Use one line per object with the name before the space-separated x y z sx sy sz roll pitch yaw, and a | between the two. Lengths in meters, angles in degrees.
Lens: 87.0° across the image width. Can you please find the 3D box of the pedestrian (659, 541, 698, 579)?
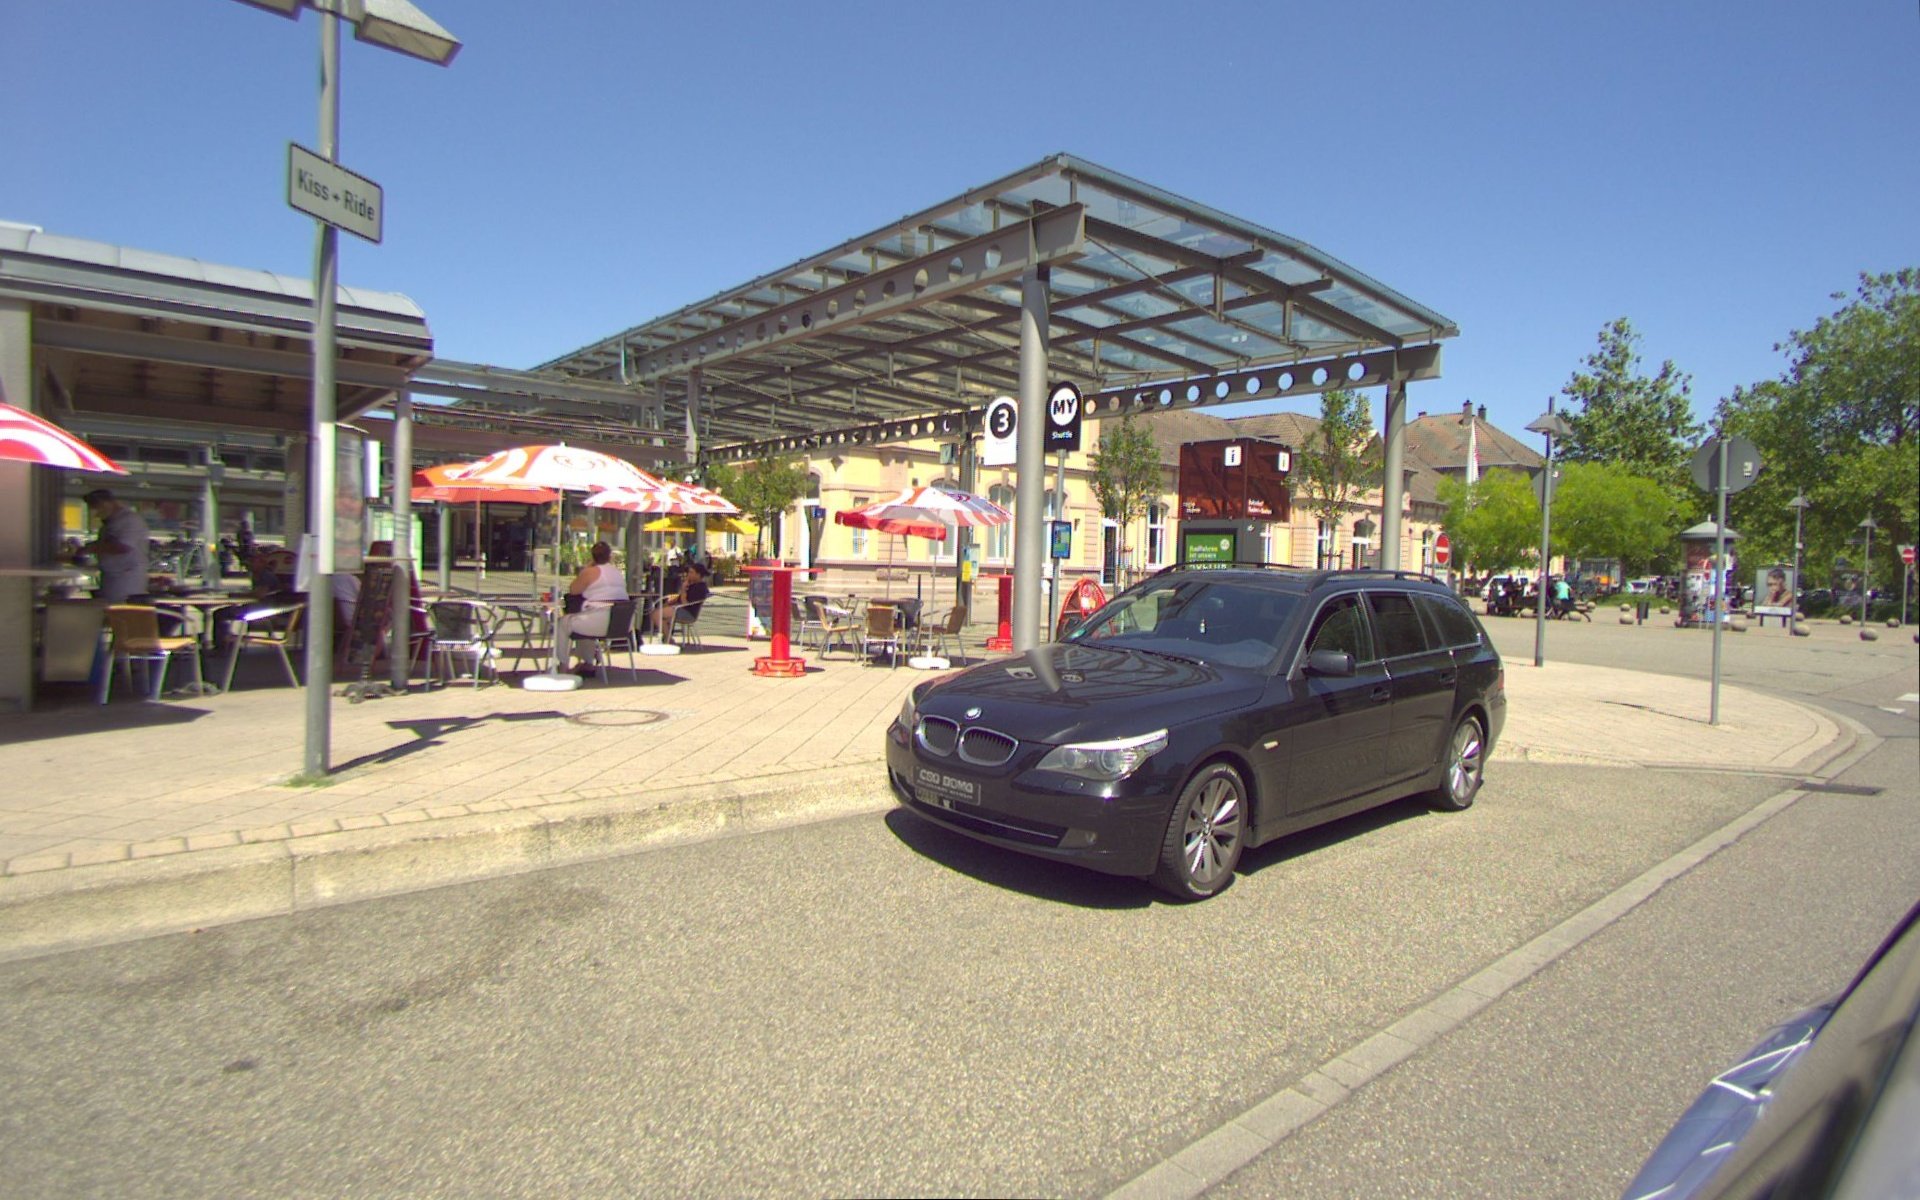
pedestrian | -10.767 -1.535 38.683 1.043 1.369 0.968 4 5 29

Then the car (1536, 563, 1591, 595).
car | 42.879 -1.477 71.842 2.087 2.151 5.733 2 1 44

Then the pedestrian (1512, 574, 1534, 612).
pedestrian | 20.699 -0.265 37.216 0.592 1.381 0.596 2 2 21

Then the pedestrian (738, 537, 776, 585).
pedestrian | -8.104 -1.541 40.326 1.064 1.869 1.081 0 2 -43

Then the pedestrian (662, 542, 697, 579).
pedestrian | -11.124 -1.579 40.117 1.033 1.369 0.977 -2 6 -38

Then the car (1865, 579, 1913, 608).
car | 55.091 -0.394 59.988 3.050 1.613 1.601 0 3 -38

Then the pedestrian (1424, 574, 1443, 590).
pedestrian | 32.768 -1.240 70.070 0.838 1.092 0.880 0 4 -45

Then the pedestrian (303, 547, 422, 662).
pedestrian | -6.409 0.028 10.882 0.882 1.175 0.685 2 2 15

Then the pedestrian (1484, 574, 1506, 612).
pedestrian | 19.895 -0.263 37.621 0.592 1.381 0.596 2 2 21

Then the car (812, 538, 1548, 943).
car | 1.613 0.479 6.138 4.643 1.477 1.931 -1 6 -42

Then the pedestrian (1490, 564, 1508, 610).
pedestrian | 20.783 -0.502 39.029 0.506 1.761 0.567 2 2 20

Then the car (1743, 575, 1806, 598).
car | 62.980 -1.066 78.329 1.768 1.624 4.062 0 3 4

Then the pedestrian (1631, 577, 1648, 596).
pedestrian | 52.423 -1.063 78.044 0.785 1.442 0.692 1 2 -4

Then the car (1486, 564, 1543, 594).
car | 36.810 -1.359 67.137 5.052 1.889 1.811 0 1 -43

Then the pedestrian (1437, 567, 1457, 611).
pedestrian | 19.010 -0.443 39.495 0.552 1.706 0.579 3 2 37

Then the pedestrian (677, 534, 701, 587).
pedestrian | -9.501 -1.390 35.490 0.619 1.831 0.691 1 2 -30

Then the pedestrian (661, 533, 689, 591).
pedestrian | -9.196 -1.224 32.642 0.590 1.831 0.626 2 2 27

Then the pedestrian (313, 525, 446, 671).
pedestrian | -5.545 -0.036 9.688 0.882 1.328 0.685 2 2 15

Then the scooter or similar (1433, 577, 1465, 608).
scooter or similar | 18.596 -0.291 38.497 1.025 1.153 0.290 3 3 43

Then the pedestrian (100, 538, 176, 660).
pedestrian | -8.587 -0.014 10.566 0.582 1.220 0.656 -1 1 -41

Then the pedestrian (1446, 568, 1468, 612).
pedestrian | 19.576 -0.405 39.838 0.616 1.706 0.583 3 2 37

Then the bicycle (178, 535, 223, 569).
bicycle | -24.849 -1.556 33.088 0.950 1.016 2.790 -1 1 -42

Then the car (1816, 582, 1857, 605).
car | 78.409 -0.583 90.596 1.721 1.917 3.965 2 2 26

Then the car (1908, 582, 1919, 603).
car | 72.089 -0.486 73.815 3.831 1.478 1.625 2 2 22

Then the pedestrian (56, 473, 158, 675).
pedestrian | -7.797 -0.241 9.270 0.695 1.759 0.688 0 2 -40

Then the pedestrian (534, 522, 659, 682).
pedestrian | -3.434 0.003 9.594 0.881 1.435 0.686 2 2 12

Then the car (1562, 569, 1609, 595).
car | 47.280 -1.354 76.435 2.075 1.863 4.763 2 1 44

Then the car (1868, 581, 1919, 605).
car | 61.455 -0.421 64.726 4.740 1.434 1.767 3 2 31

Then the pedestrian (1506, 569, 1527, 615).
pedestrian | 21.578 -0.309 39.237 0.579 1.761 0.595 2 2 24

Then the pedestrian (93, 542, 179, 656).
pedestrian | -9.105 -0.021 11.201 0.580 1.220 0.658 -1 1 -25

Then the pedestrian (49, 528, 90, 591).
pedestrian | -20.388 -0.929 23.181 0.665 1.411 0.626 -1 4 -41

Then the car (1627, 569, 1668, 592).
car | 58.161 -1.627 85.603 1.998 1.863 5.234 1 1 44

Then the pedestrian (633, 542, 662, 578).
pedestrian | -12.534 -1.614 40.624 0.957 1.369 1.054 1 5 -6

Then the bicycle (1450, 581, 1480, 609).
bicycle | 20.592 -0.218 41.234 1.916 1.073 0.421 -1 3 -43

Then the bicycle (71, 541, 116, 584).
bicycle | -21.886 -0.928 25.534 0.797 1.016 2.790 -1 1 -42

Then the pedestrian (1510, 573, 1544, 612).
pedestrian | 21.396 -0.295 38.205 0.901 1.403 0.938 2 2 20

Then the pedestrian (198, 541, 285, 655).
pedestrian | -8.106 -0.030 11.416 0.724 1.220 0.760 -1 1 -40

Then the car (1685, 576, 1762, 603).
car | 50.804 -0.746 67.467 1.768 1.561 4.529 0 3 3

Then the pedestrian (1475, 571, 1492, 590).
pedestrian | 39.396 -1.445 76.152 0.838 1.388 0.880 0 4 -45

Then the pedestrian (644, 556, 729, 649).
pedestrian | -3.616 0.018 13.381 0.878 1.175 0.688 0 2 -36

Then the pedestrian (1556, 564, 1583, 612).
pedestrian | 22.904 -0.467 38.018 0.684 1.785 0.582 2 2 19

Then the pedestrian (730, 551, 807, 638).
pedestrian | -2.970 -0.095 15.696 0.878 1.293 0.848 0 2 -36

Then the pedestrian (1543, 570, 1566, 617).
pedestrian | 22.860 -0.264 38.927 0.621 1.761 0.543 2 2 24
